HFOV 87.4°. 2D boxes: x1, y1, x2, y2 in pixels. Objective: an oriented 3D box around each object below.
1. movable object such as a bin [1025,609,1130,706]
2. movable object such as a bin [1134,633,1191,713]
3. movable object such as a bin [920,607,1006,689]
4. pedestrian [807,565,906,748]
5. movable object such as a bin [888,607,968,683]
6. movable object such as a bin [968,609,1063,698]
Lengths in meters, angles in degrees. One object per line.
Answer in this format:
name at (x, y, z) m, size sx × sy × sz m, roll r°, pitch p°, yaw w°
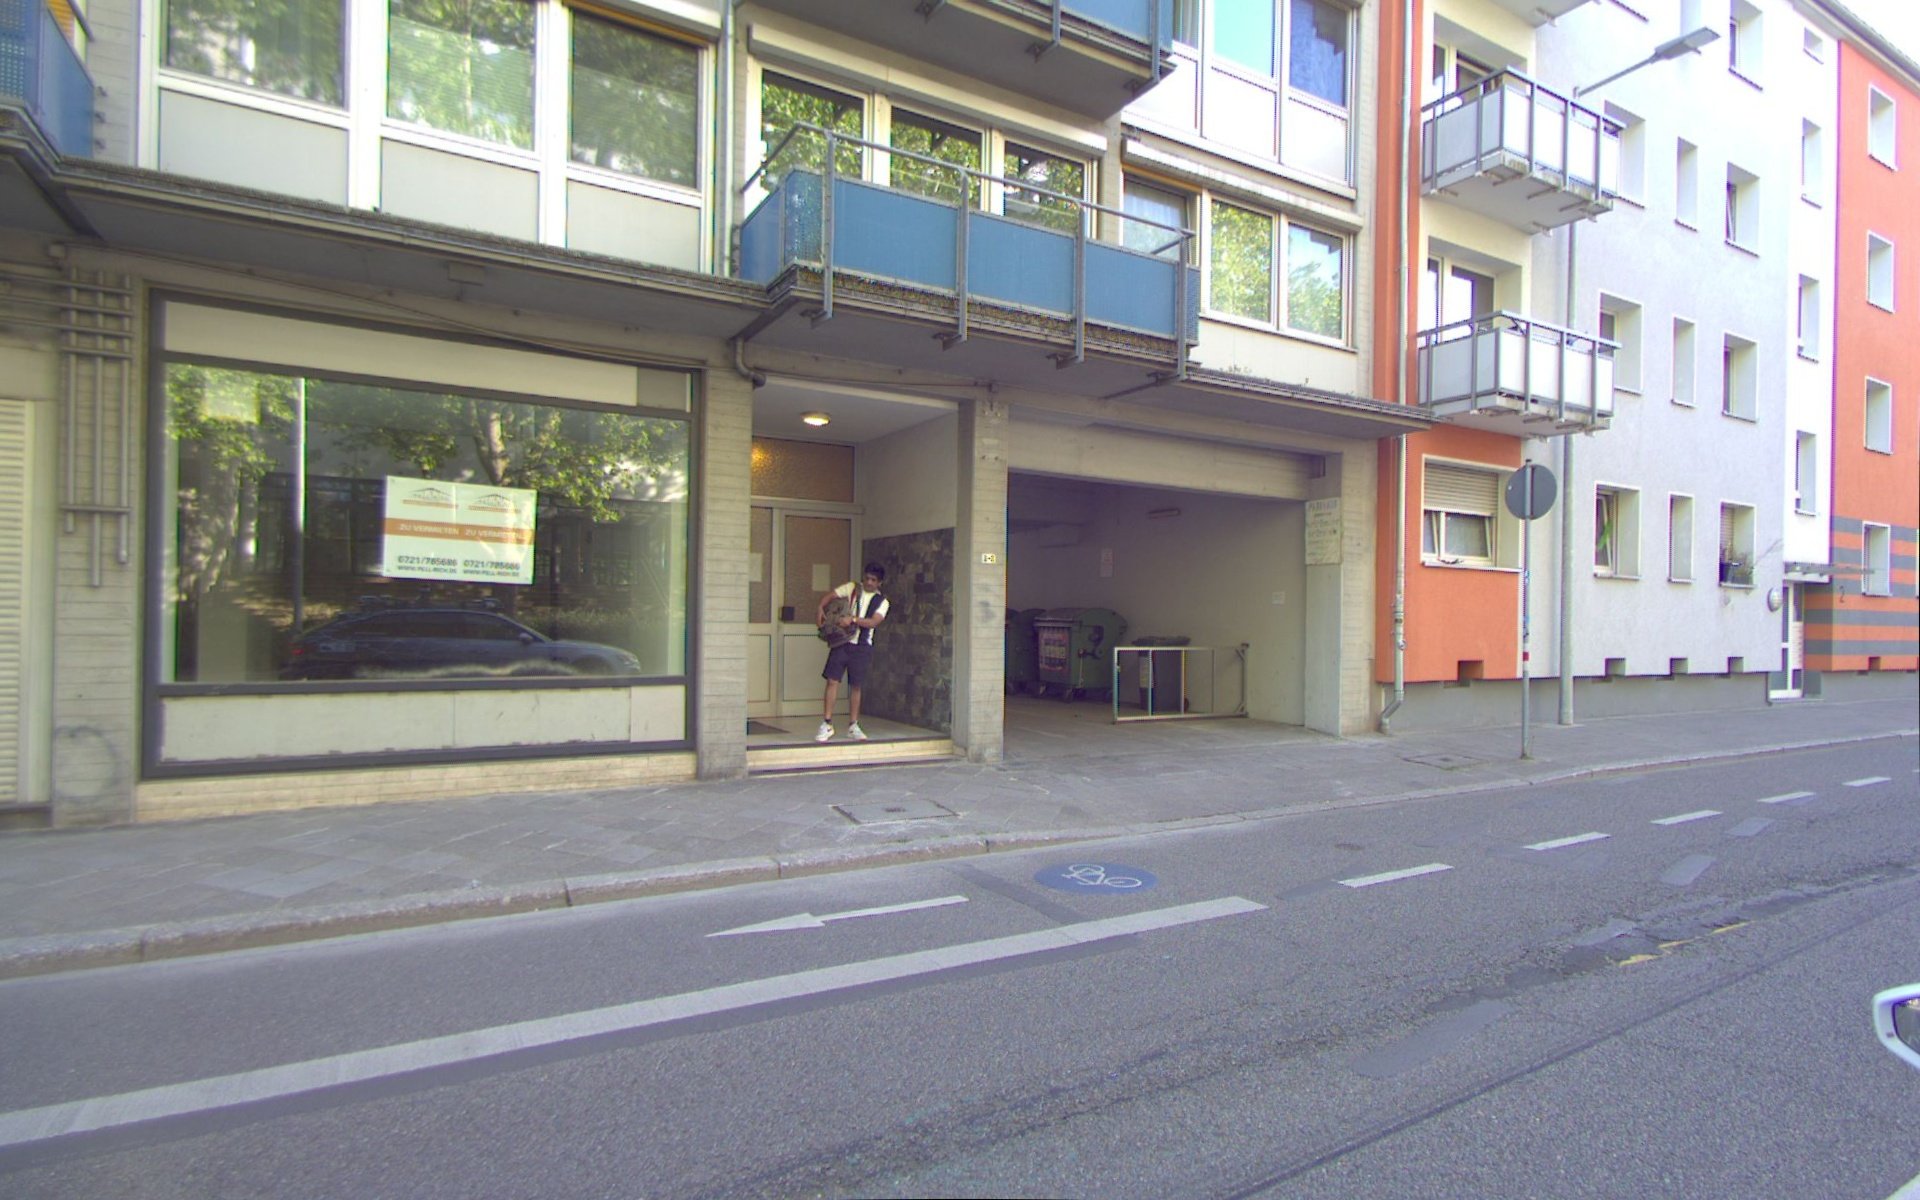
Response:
movable object such as a bin at (1.829, 0.871, 15.784) m, size 1.067 × 1.433 × 1.312 m, roll 1°, pitch -1°, yaw -30°
movable object such as a bin at (2.909, 1.037, 14.439) m, size 0.646 × 1.102 × 0.487 m, roll 1°, pitch 0°, yaw -30°
movable object such as a bin at (0.046, 0.864, 18.623) m, size 1.067 × 1.433 × 1.312 m, roll 1°, pitch -1°, yaw -30°
pedestrian at (-0.949, 0.499, 9.195) m, size 0.747 × 1.600 × 0.511 m, roll 1°, pitch 0°, yaw -30°
movable object such as a bin at (-0.645, 0.866, 19.826) m, size 1.067 × 1.433 × 1.312 m, roll 1°, pitch -1°, yaw -30°
movable object such as a bin at (0.935, 0.885, 17.166) m, size 1.067 × 1.433 × 1.312 m, roll 1°, pitch -1°, yaw -30°
